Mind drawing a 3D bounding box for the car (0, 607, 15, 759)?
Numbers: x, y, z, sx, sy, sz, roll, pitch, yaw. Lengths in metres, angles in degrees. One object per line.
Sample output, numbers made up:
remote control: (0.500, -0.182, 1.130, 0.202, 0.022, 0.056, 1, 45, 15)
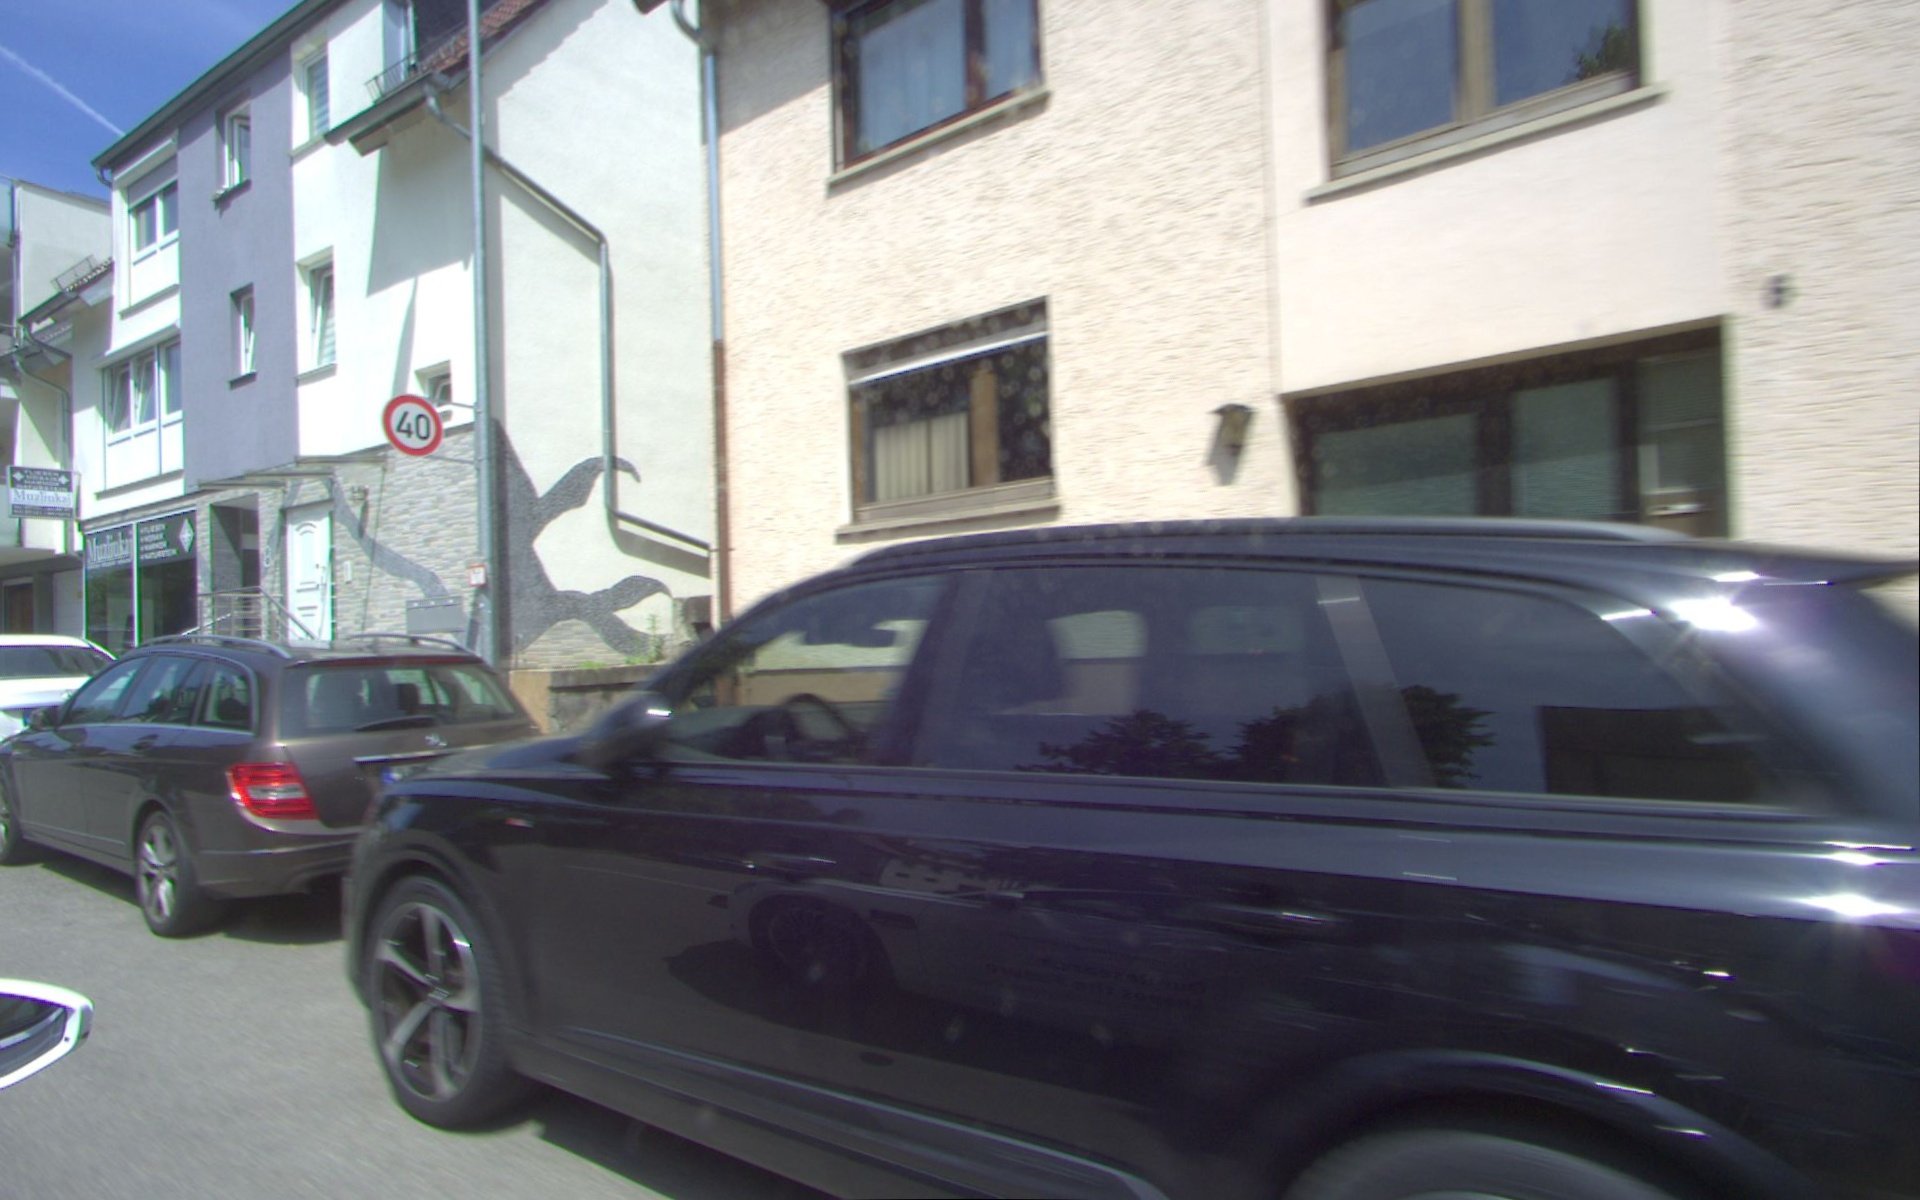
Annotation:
car: (-13.363, 0.952, 11.887, 4.647, 1.738, 1.951, -1, -2, 31)

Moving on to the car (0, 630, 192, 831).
car: (-8.983, 1.019, 8.966, 4.647, 1.474, 1.786, -1, -1, 31)

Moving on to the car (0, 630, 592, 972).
car: (-4.392, 0.913, 6.213, 4.298, 1.438, 1.785, -1, -2, 34)

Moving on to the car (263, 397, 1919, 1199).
car: (-0.005, 0.697, 2.978, 4.591, 1.691, 1.840, -2, -3, 34)
